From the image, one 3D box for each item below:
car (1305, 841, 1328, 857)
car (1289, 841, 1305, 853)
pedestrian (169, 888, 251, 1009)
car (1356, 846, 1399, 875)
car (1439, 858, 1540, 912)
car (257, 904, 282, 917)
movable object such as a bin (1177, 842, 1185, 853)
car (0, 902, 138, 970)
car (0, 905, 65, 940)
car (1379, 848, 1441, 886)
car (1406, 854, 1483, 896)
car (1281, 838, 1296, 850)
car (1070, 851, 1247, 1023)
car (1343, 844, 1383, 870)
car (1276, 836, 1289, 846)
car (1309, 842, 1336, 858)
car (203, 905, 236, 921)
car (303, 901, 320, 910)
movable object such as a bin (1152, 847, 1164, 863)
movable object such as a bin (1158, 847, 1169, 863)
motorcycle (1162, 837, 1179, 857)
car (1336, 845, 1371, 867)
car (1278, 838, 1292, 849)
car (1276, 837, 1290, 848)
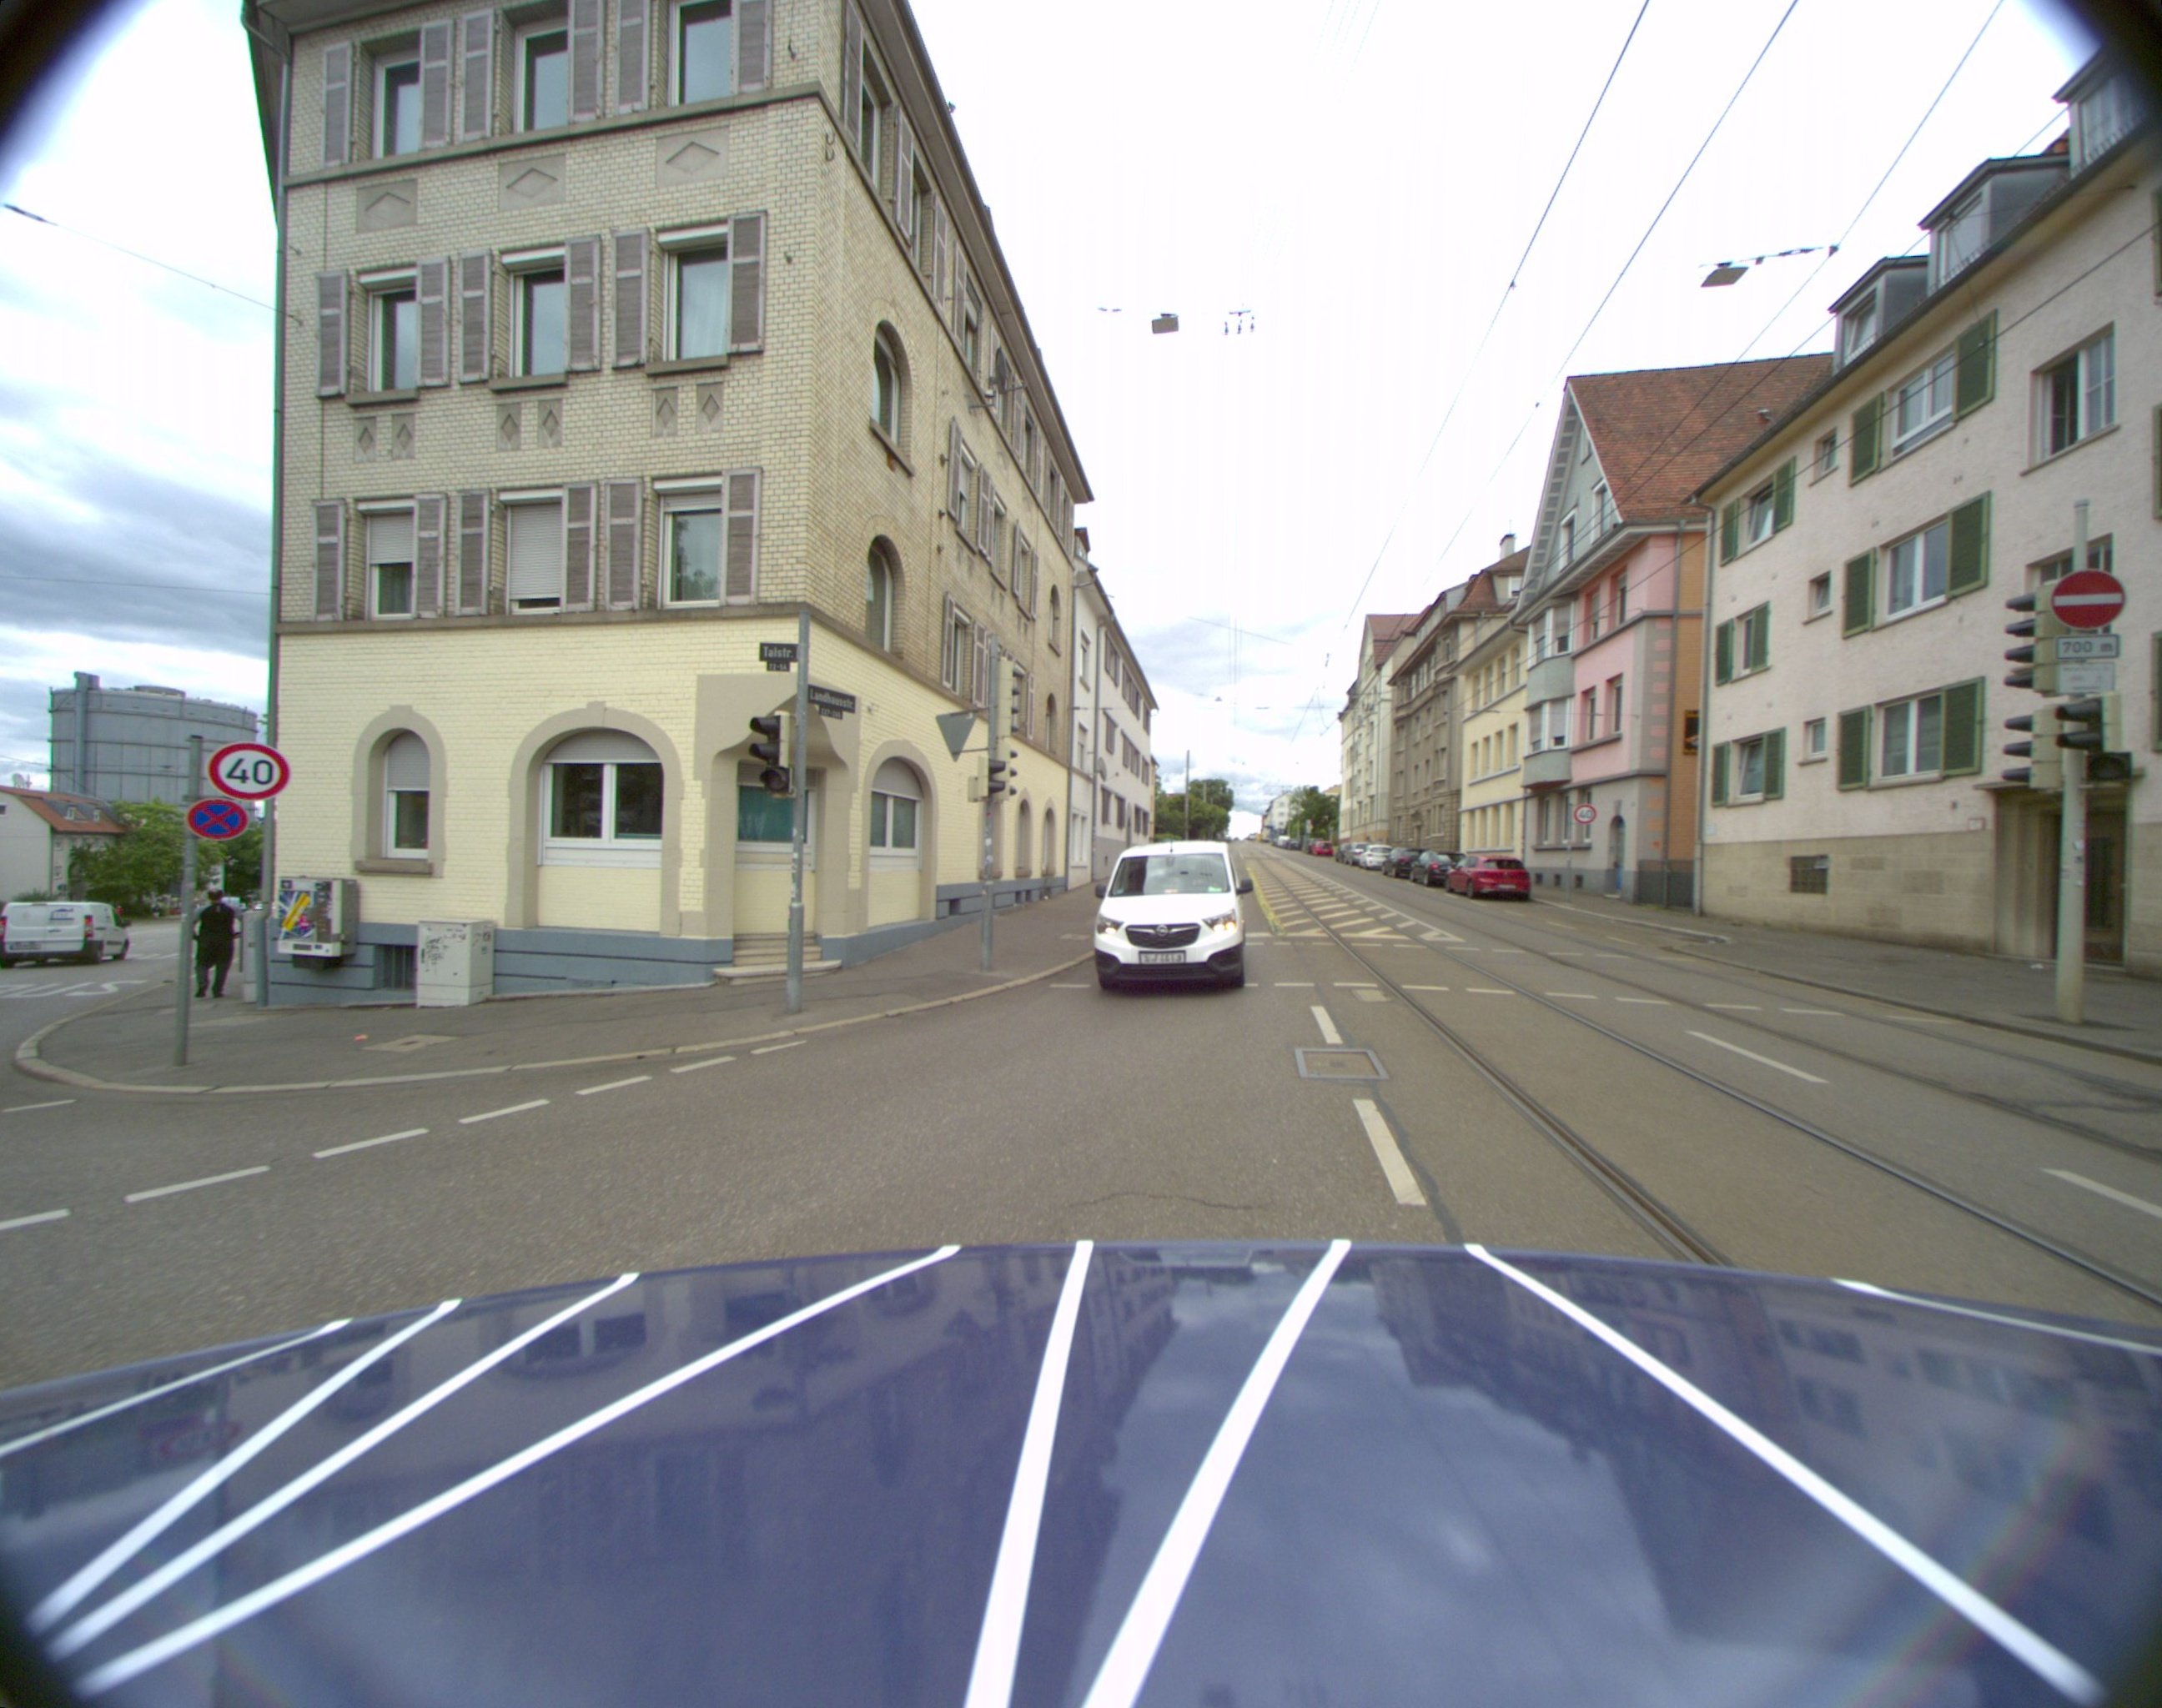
[{"bbox_3d":[24.537,-0.529,79.279,1.741,1.517,3.954,3,2,10],"label":"car"},{"bbox_3d":[29.569,-0.979,104.153,1.741,1.517,3.954,3,2,10],"label":"car"},{"bbox_3d":[-14.874,1.572,13.002,0.748,1.925,0.901,-3,1,-43],"label":"pedestrian"},{"bbox_3d":[17.656,0.358,45.351,1.741,1.503,3.803,1,2,11],"label":"car"},{"bbox_3d":[13.738,0.970,25.834,1.787,1.431,4.264,3,2,11],"label":"car"},{"bbox_3d":[-115.431,8.080,108.163,2.004,1.590,3.989,-1,-1,-41],"label":"car"},{"bbox_3d":[9.561,-0.660,72.685,0.669,1.053,0.540,0,1,11],"label":"movable object such as a bin"},{"bbox_3d":[-31.250,2.457,23.565,1.876,1.871,4.274,4,-5,-44],"label":"car"},{"bbox_3d":[-56.261,3.634,40.454,4.397,1.620,2.004,-2,-1,45],"label":"car"},{"bbox_3d":[15.685,0.582,36.454,1.787,1.503,4.528,3,2,11],"label":"car"},{"bbox_3d":[14.771,0.802,31.140,1.787,1.403,4.244,3,2,11],"label":"car"},{"bbox_3d":[30.195,-1.456,110.438,1.741,1.517,3.954,3,2,11],"label":"car"},{"bbox_3d":[1.312,0.938,10.760,1.886,1.827,4.680,-3,0,12],"label":"car"},{"bbox_3d":[18.712,0.183,50.611,1.741,1.558,4.145,1,2,10],"label":"car"},{"bbox_3d":[33.798,-2.165,127.637,1.741,1.517,3.954,3,2,10],"label":"car"},{"bbox_3d":[23.618,-0.408,74.403,1.742,1.451,3.953,3,2,7],"label":"car"},{"bbox_3d":[-98.365,6.734,86.806,2.004,1.590,3.989,-1,-1,-41],"label":"car"},{"bbox_3d":[-144.430,9.639,142.664,2.004,1.590,3.989,-1,-1,-41],"label":"car"},{"bbox_3d":[4.877,0.057,47.997,0.637,1.004,0.603,4,2,11],"label":"movable object such as a bin"},{"bbox_3d":[5.283,0.065,48.759,0.565,1.004,0.499,4,2,2],"label":"movable object such as a bin"},{"bbox_3d":[6.575,-0.491,55.773,0.730,1.382,1.938,5,3,18],"label":"motorcycle"},{"bbox_3d":[19.811,0.116,55.445,1.741,1.373,4.047,1,2,10],"label":"car"},{"bbox_3d":[31.343,-1.647,116.796,1.741,1.517,3.954,3,2,10],"label":"car"},{"bbox_3d":[32.253,-1.836,121.596,1.741,1.517,3.954,3,2,10],"label":"car"}]
